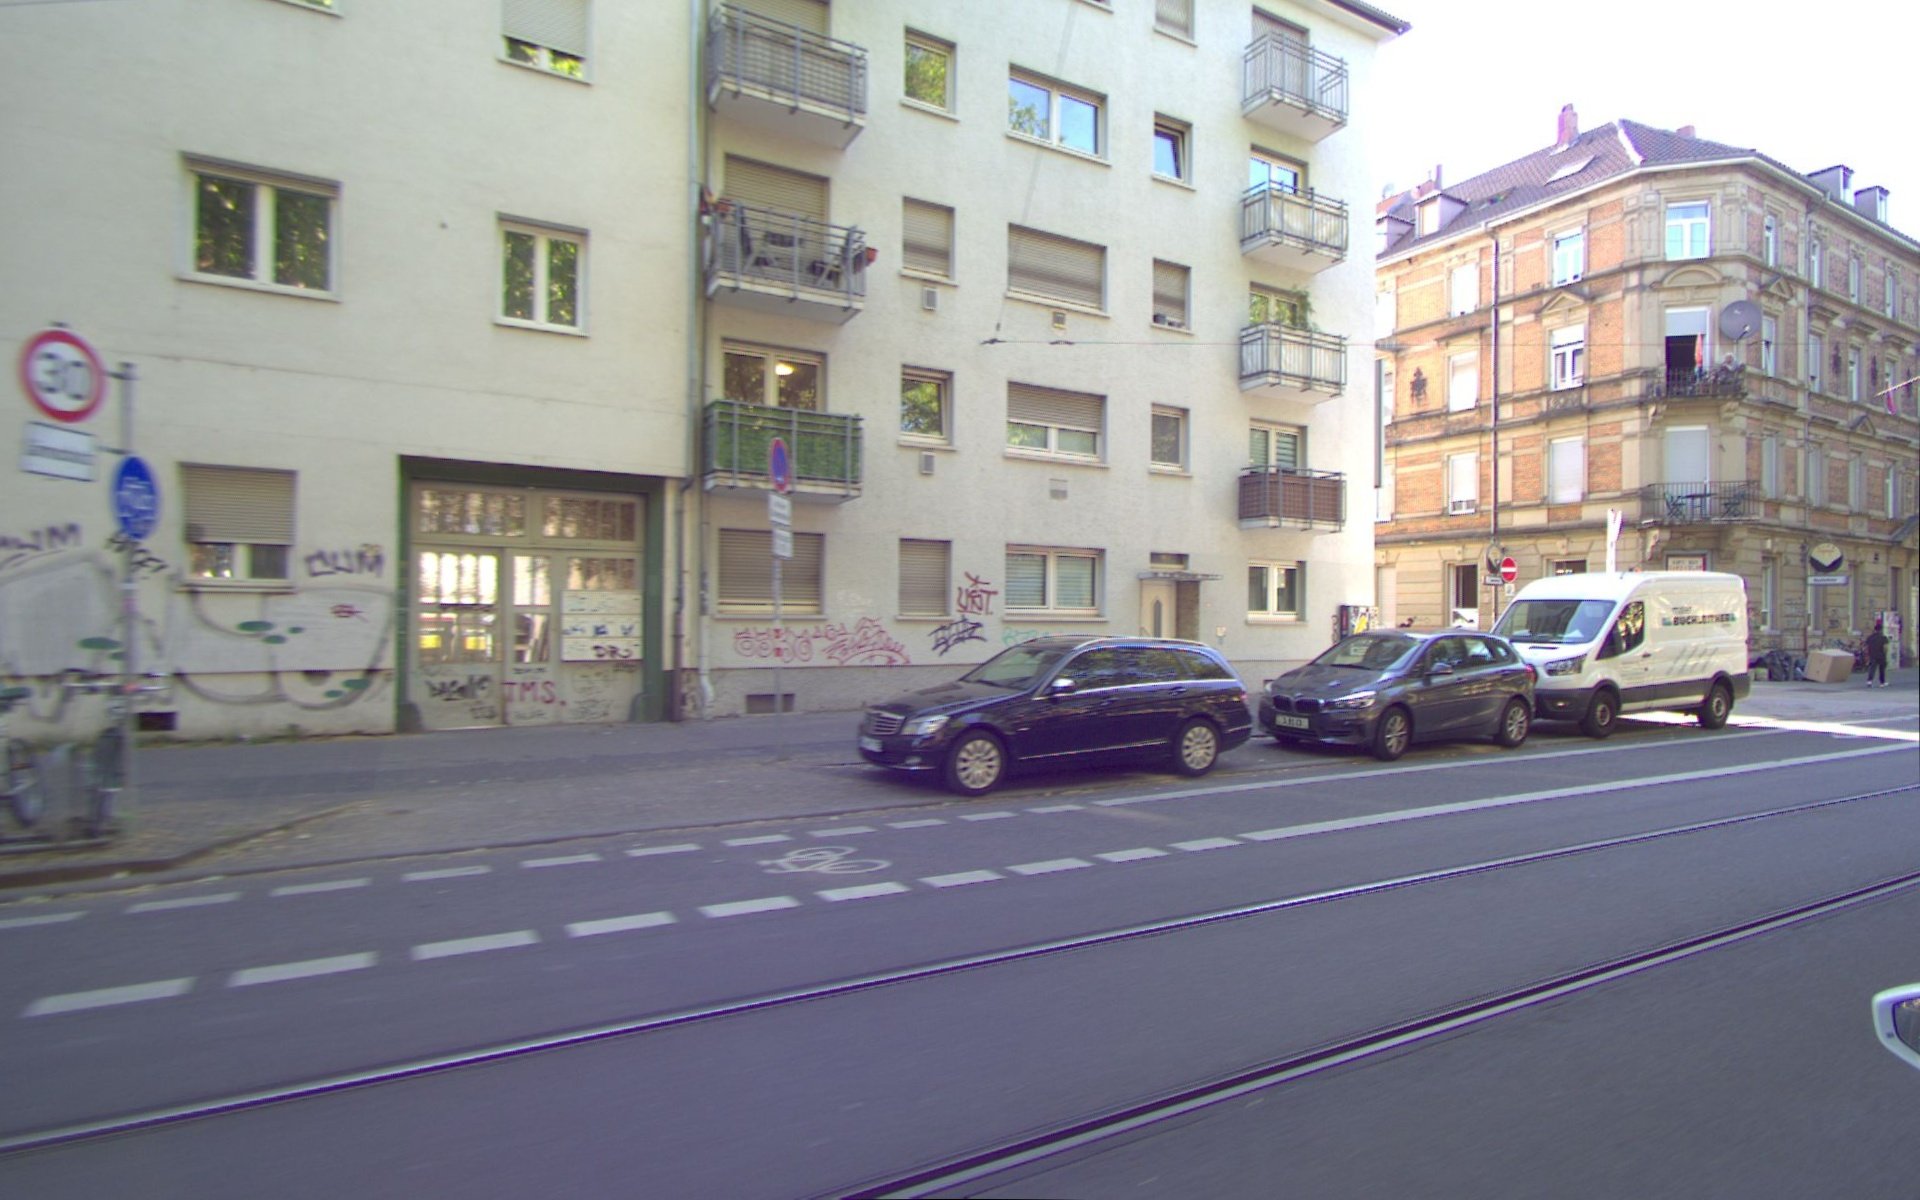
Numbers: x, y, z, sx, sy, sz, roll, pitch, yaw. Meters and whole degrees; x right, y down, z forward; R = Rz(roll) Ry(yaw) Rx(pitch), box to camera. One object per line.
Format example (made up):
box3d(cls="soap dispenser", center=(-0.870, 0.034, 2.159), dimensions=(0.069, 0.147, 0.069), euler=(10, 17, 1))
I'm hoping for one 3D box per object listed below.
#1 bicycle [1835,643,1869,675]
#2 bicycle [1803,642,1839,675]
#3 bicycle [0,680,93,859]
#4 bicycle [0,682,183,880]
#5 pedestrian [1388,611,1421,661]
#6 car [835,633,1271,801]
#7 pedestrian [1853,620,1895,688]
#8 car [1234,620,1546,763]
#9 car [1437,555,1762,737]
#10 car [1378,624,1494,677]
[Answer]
box3d(cls="bicycle", center=(29.952, 1.967, 33.720), dimensions=(1.828, 1.048, 0.370), euler=(1, -1, -33))
box3d(cls="bicycle", center=(27.963, 1.887, 32.610), dimensions=(1.828, 1.048, 0.370), euler=(1, -1, -33))
box3d(cls="bicycle", center=(-6.554, 1.145, 6.835), dimensions=(0.396, 1.051, 1.889), euler=(1, 0, -22))
box3d(cls="bicycle", center=(-6.044, 1.184, 7.070), dimensions=(0.396, 1.051, 1.889), euler=(1, 0, -22))
box3d(cls="pedestrian", center=(16.037, 1.291, 36.263), dimensions=(0.881, 1.772, 0.654), euler=(1, 0, -26))
box3d(cls="car", center=(1.075, 1.115, 10.834), dimensions=(4.515, 1.475, 1.711), euler=(1, -1, -28))
box3d(cls="pedestrian", center=(25.448, 1.494, 27.968), dimensions=(1.048, 1.825, 0.678), euler=(1, 0, -39))
box3d(cls="car", center=(5.842, 1.116, 13.511), dimensions=(4.297, 1.653, 1.710), euler=(1, -1, -31))
box3d(cls="car", center=(10.553, 0.720, 16.465), dimensions=(5.596, 2.569, 2.056), euler=(1, -1, -28))
box3d(cls="car", center=(15.829, 1.633, 33.516), dimensions=(1.697, 1.606, 3.163), euler=(-1, -1, -24))
